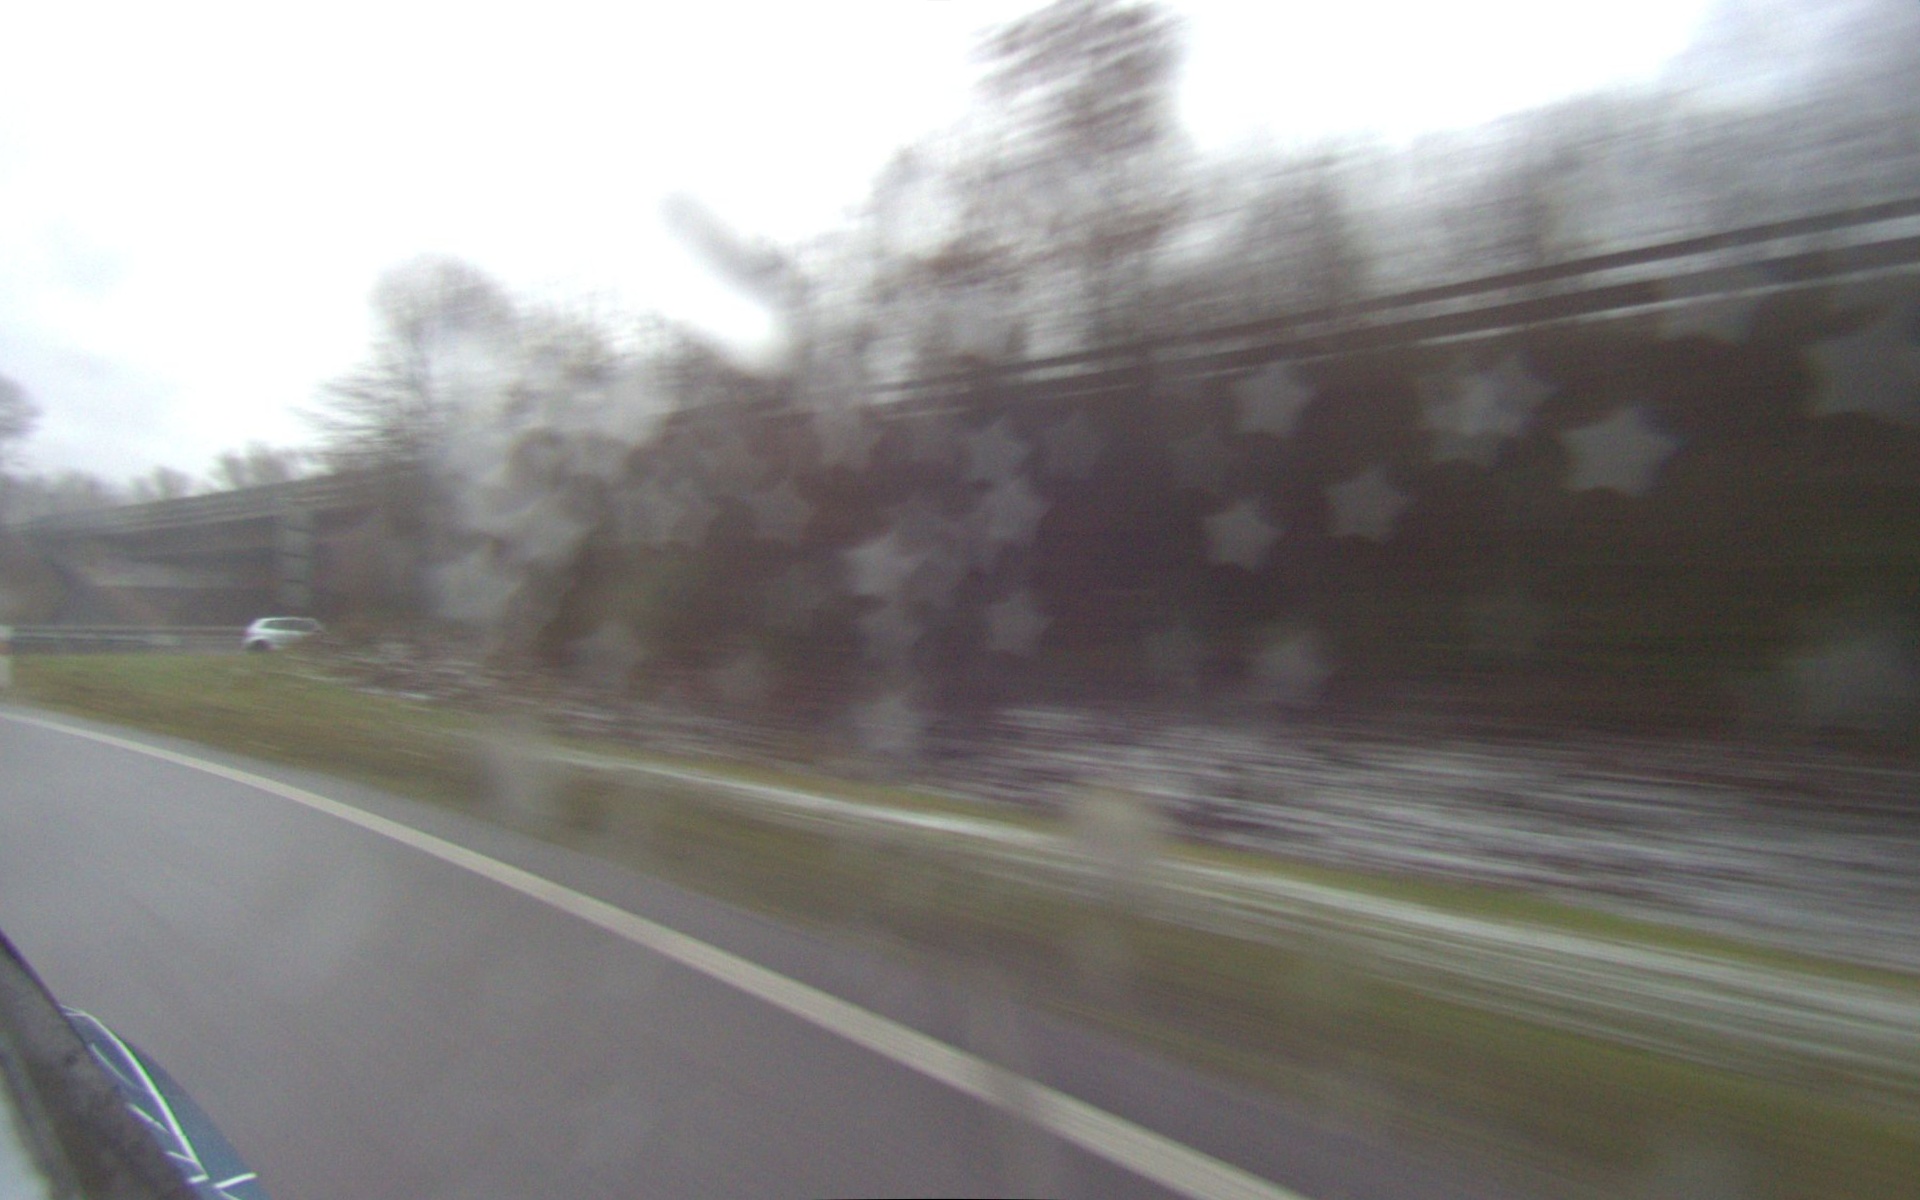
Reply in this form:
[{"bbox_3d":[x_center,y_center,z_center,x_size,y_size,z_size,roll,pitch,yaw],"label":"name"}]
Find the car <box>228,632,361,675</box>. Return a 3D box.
[{"bbox_3d":[-24.473,1.941,37.363,3.807,1.523,1.661,1,-2,-20],"label":"car"}]
